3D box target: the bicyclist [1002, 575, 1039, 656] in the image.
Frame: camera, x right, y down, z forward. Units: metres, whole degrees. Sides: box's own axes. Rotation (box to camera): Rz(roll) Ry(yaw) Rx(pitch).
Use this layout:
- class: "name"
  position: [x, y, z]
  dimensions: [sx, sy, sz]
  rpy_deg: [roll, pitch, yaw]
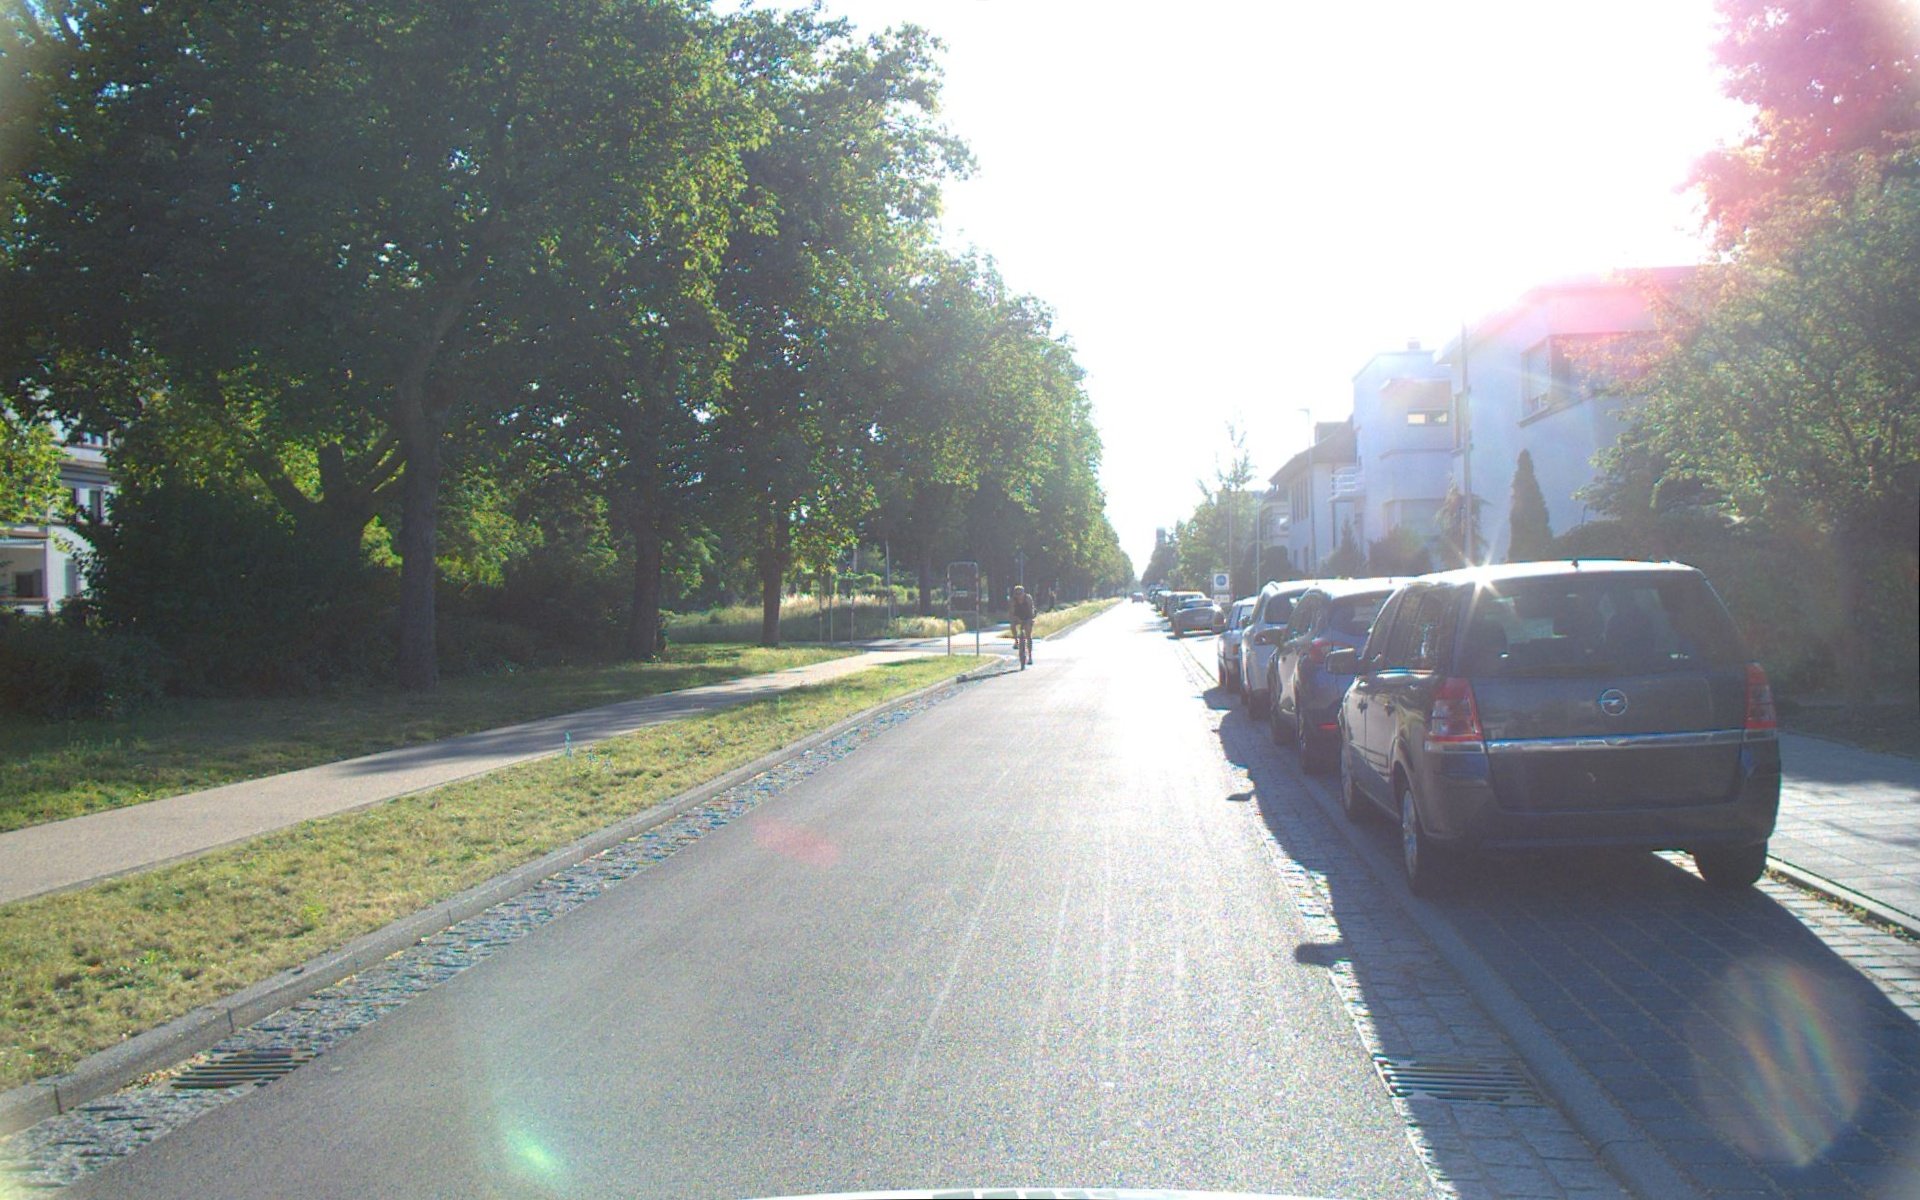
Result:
- class: "bicyclist"
  position: [1.327, 0.339, 36.146]
  dimensions: [0.667, 1.702, 1.173]
  rpy_deg: [-2, -1, 6]

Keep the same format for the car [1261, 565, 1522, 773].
- class: "car"
  position: [3.810, 0.545, 15.248]
  dimensions: [1.643, 1.583, 4.147]
  rpy_deg: [-3, 0, 6]

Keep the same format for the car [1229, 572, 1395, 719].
- class: "car"
  position: [4.306, 0.505, 20.761]
  dimensions: [1.643, 1.583, 4.133]
  rpy_deg: [-3, 0, 7]

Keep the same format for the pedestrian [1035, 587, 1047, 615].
- class: "pedestrian"
  position: [5.421, 0.060, 110.616]
  dimensions: [0.611, 1.863, 0.887]
  rpy_deg: [-1, 0, 10]

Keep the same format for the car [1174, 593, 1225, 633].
- class: "car"
  position: [9.069, 0.472, 62.884]
  dimensions: [1.737, 1.310, 4.276]
  rpy_deg: [-4, 1, 7]

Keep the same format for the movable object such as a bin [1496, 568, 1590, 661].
- class: "movable object such as a bin"
  position: [9.410, 0.231, 26.740]
  dimensions: [1.211, 1.457, 1.124]
  rpy_deg: [-1, 0, 8]

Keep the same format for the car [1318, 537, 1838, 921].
- class: "car"
  position: [3.210, 0.570, 9.495]
  dimensions: [1.674, 1.639, 4.171]
  rpy_deg: [-3, 0, 5]

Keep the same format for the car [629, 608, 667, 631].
- class: "car"
  position: [-23.471, 1.423, 124.571]
  dimensions: [1.656, 1.625, 4.224]
  rpy_deg: [-1, 0, 6]

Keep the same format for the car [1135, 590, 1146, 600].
- class: "car"
  position: [26.892, -0.743, 246.850]
  dimensions: [1.617, 1.568, 3.269]
  rpy_deg: [0, 0, 6]

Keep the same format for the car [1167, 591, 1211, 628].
- class: "car"
  position: [10.227, 0.406, 74.024]
  dimensions: [1.708, 1.499, 3.925]
  rpy_deg: [-4, 0, 5]

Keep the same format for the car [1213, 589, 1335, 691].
- class: "car"
  position: [4.881, 0.571, 26.145]
  dimensions: [1.530, 1.414, 4.377]
  rpy_deg: [-3, 0, 7]

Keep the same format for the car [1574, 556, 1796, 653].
- class: "car"
  position: [13.027, 0.088, 29.897]
  dimensions: [3.419, 1.670, 1.644]
  rpy_deg: [-1, 0, 14]

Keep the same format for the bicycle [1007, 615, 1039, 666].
- class: "bicycle"
  position: [1.395, 0.874, 36.148]
  dimensions: [0.544, 1.050, 1.916]
  rpy_deg: [-2, -1, 6]

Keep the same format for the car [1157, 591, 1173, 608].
- class: "car"
  position: [20.064, -0.076, 161.859]
  dimensions: [1.466, 1.594, 3.269]
  rpy_deg: [-2, 0, 7]

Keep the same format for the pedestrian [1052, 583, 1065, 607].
- class: "pedestrian"
  position: [6.577, -0.335, 110.684]
  dimensions: [0.766, 1.643, 0.953]
  rpy_deg: [-1, 0, 10]

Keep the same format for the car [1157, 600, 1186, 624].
- class: "car"
  position: [14.141, 0.796, 110.487]
  dimensions: [1.700, 1.474, 4.199]
  rpy_deg: [-3, -1, 5]

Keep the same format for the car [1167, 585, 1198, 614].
- class: "car"
  position: [12.652, -0.054, 94.142]
  dimensions: [1.593, 1.531, 3.636]
  rpy_deg: [-3, 0, 7]
